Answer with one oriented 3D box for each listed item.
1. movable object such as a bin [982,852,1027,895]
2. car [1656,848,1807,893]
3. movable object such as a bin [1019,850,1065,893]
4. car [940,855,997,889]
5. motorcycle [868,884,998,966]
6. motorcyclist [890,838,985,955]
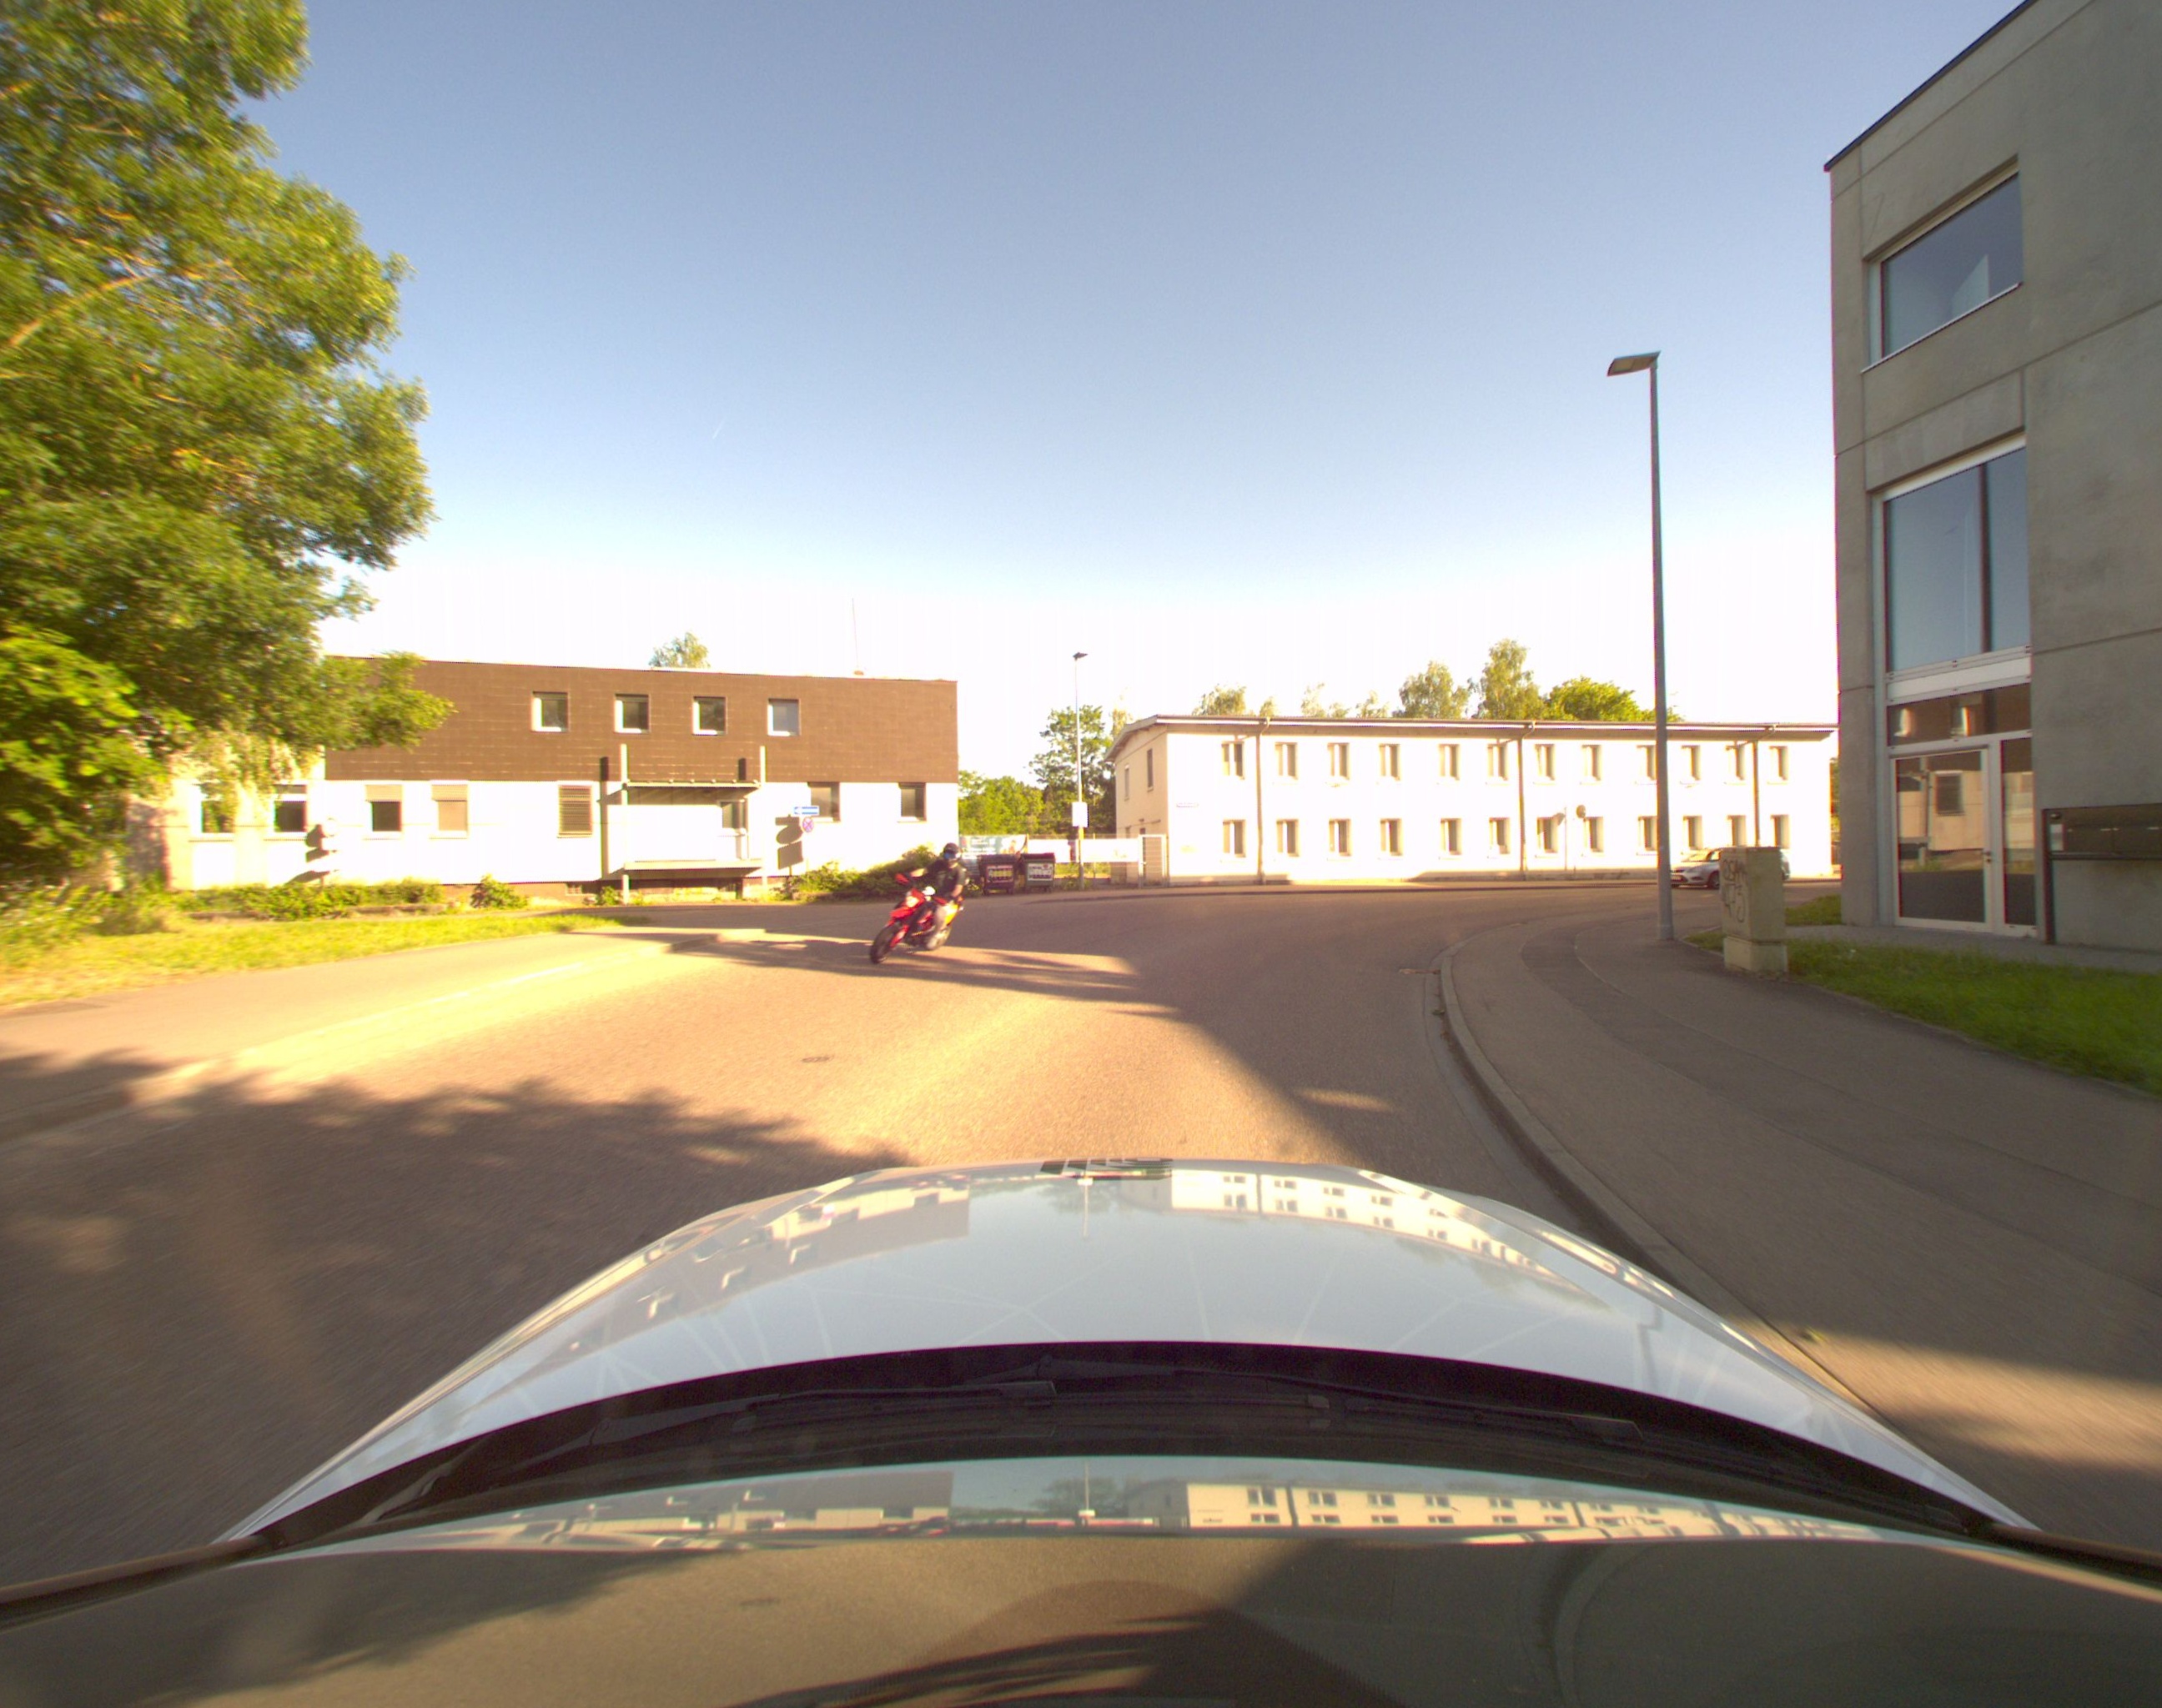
[{"bbox_3d":[-2.711,0.667,28.791,1.289,1.471,1.356,-1,0,-20],"label":"movable object such as a bin"},{"bbox_3d":[23.102,0.568,28.978,4.489,1.505,1.738,0,0,-11],"label":"car"},{"bbox_3d":[-1.414,0.601,29.276,1.373,1.471,1.194,-1,0,-20],"label":"movable object such as a bin"},{"bbox_3d":[-5.792,0.867,41.641,2.001,1.618,3.971,-1,0,-22],"label":"car"},{"bbox_3d":[-2.088,0.974,11.897,0.826,0.972,2.311,-1,0,19],"label":"motorcycle"},{"bbox_3d":[-2.075,0.589,11.947,0.857,1.611,1.248,-1,0,19],"label":"motorcyclist"}]
